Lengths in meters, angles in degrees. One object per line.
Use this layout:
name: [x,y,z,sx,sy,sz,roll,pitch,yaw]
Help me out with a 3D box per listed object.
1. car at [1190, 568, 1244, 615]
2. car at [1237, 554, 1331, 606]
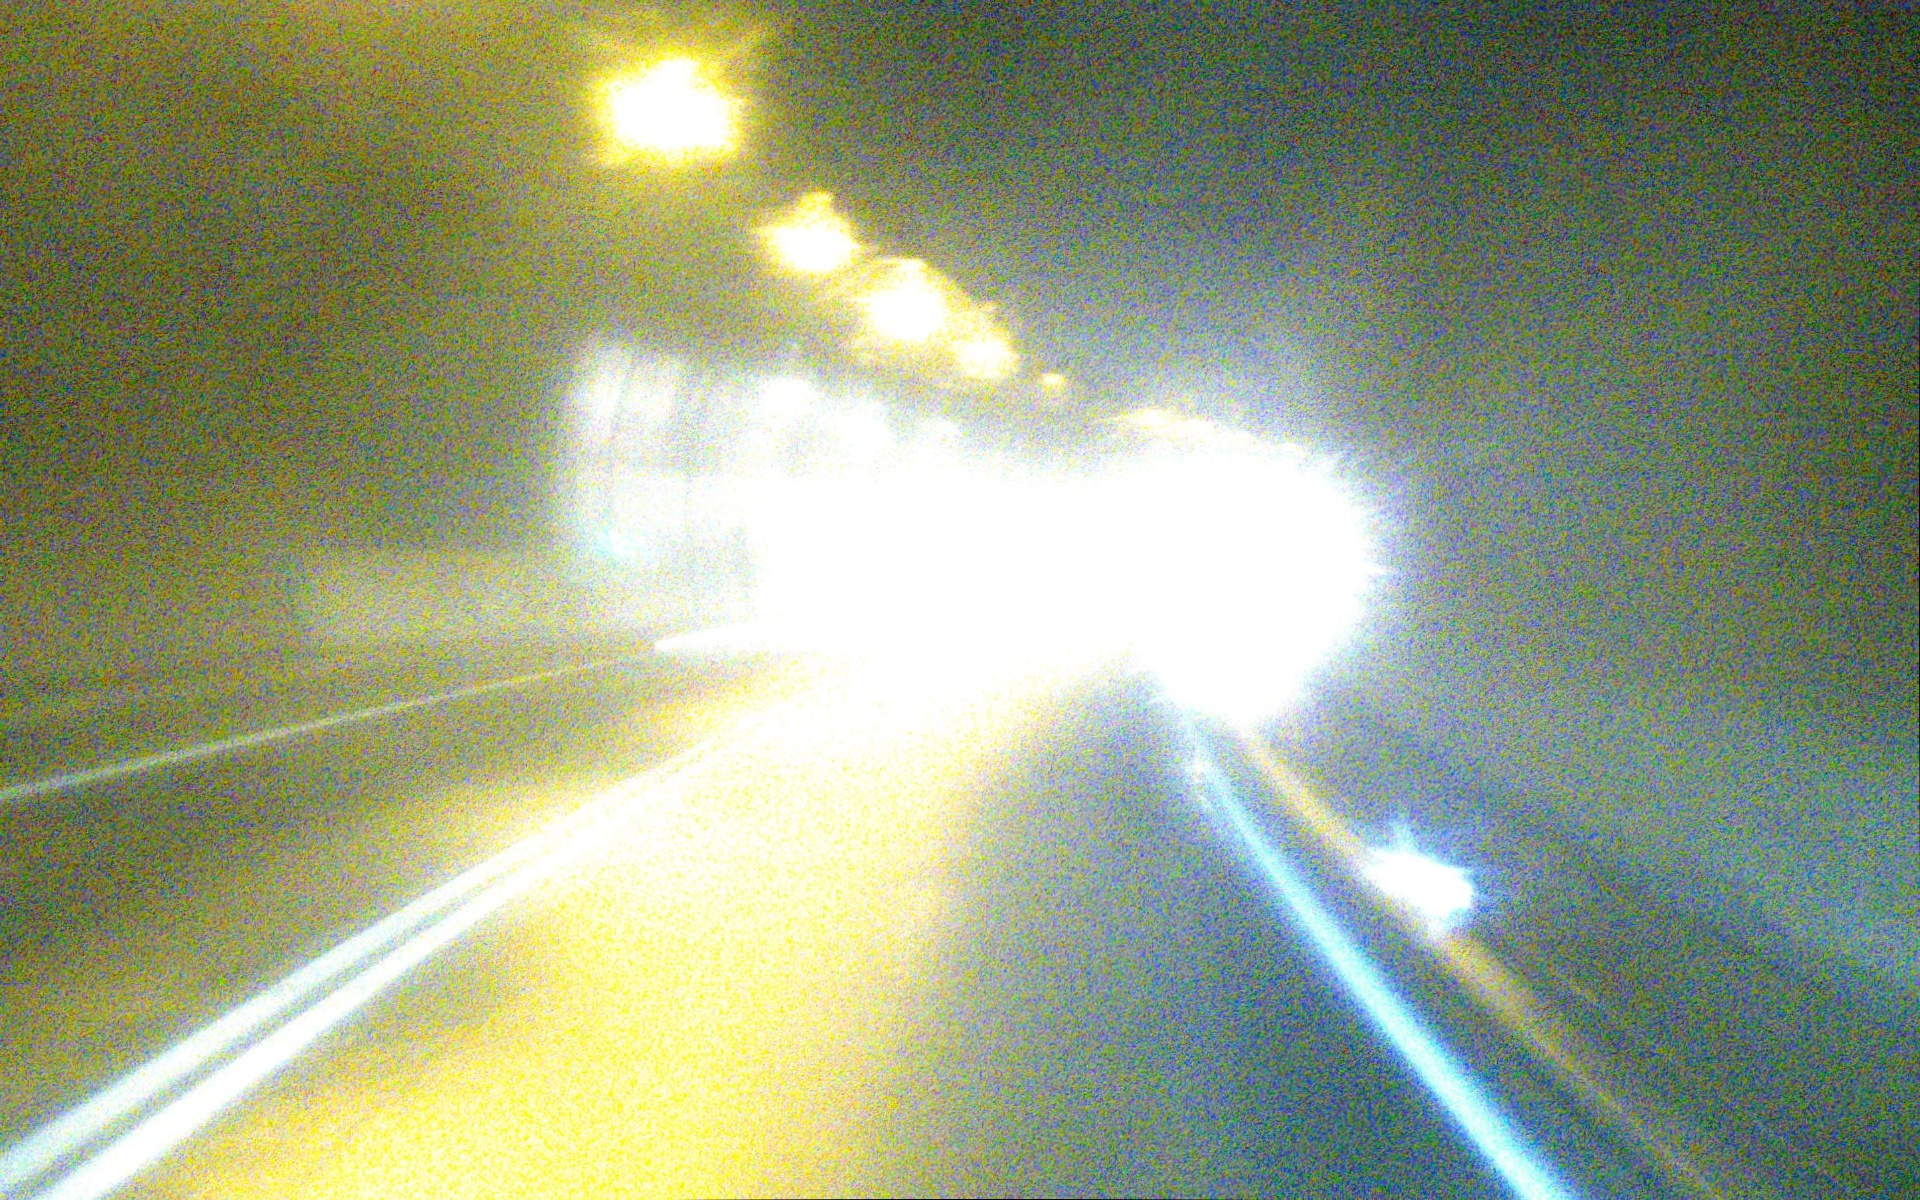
car: [8.832,-0.302,117.892,1.709,1.505,4.078,2,1,6]
car: [10.938,-0.670,115.741,1.996,1.645,3.995,2,1,23]
